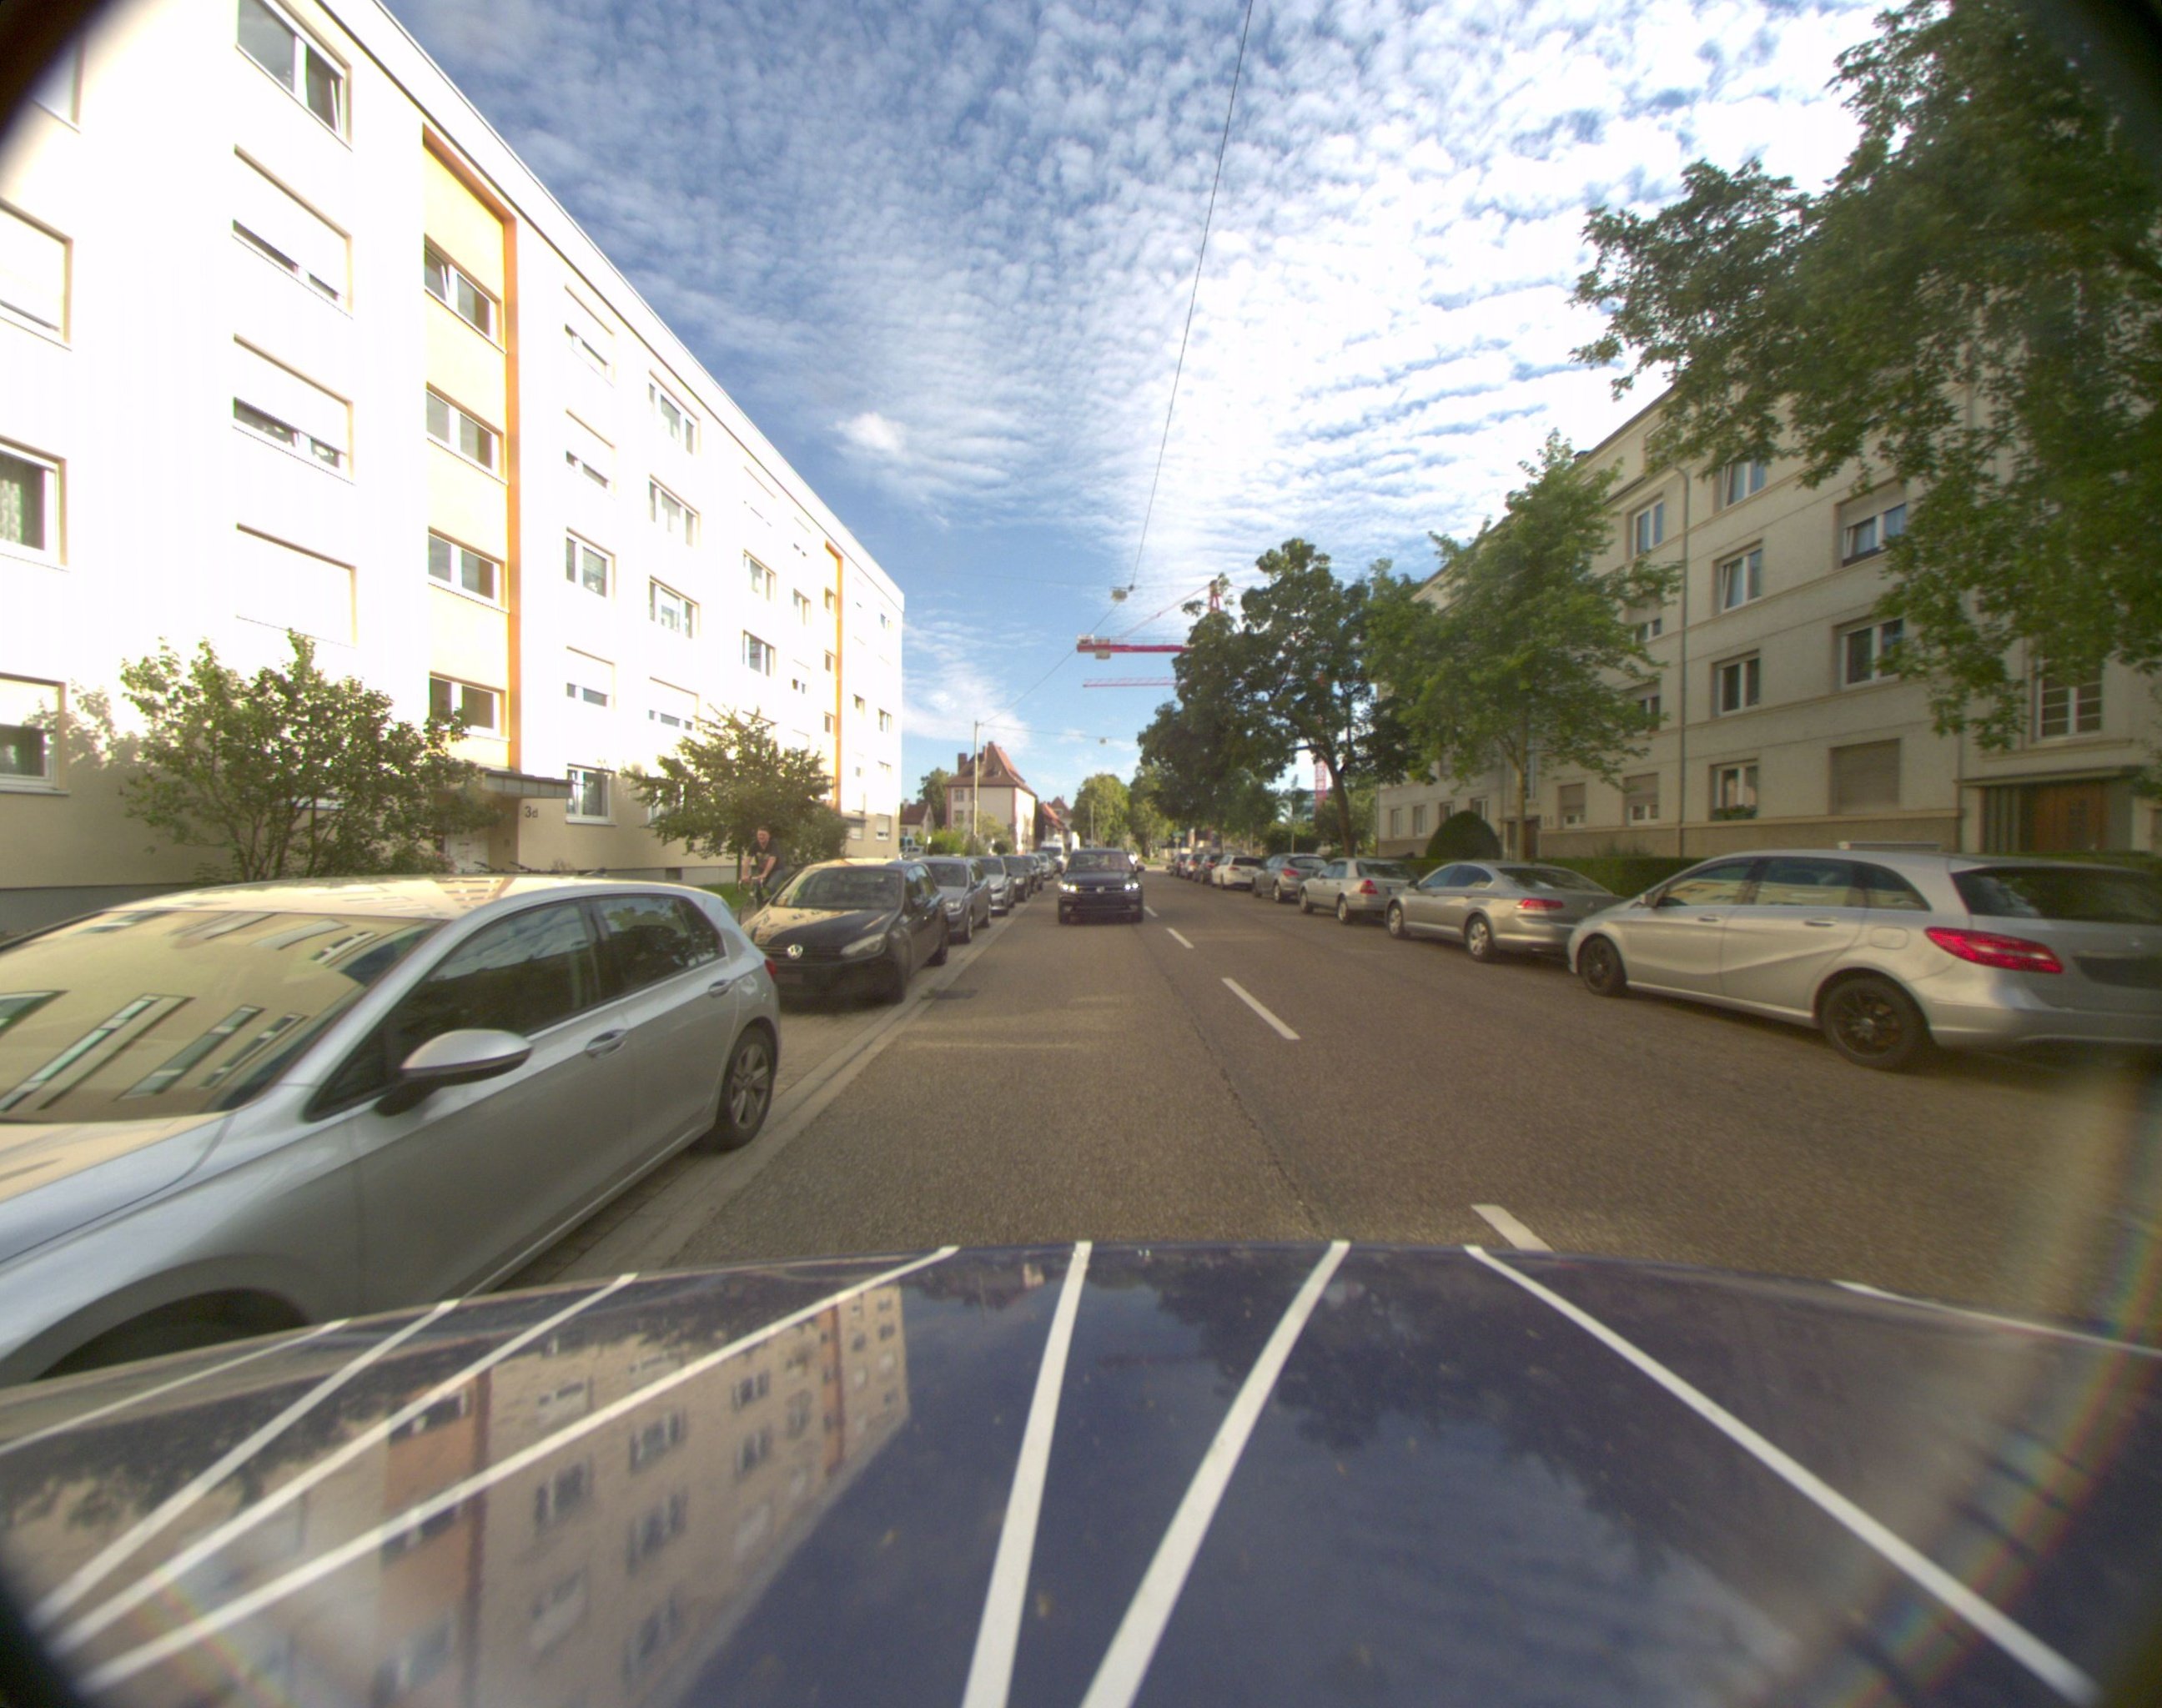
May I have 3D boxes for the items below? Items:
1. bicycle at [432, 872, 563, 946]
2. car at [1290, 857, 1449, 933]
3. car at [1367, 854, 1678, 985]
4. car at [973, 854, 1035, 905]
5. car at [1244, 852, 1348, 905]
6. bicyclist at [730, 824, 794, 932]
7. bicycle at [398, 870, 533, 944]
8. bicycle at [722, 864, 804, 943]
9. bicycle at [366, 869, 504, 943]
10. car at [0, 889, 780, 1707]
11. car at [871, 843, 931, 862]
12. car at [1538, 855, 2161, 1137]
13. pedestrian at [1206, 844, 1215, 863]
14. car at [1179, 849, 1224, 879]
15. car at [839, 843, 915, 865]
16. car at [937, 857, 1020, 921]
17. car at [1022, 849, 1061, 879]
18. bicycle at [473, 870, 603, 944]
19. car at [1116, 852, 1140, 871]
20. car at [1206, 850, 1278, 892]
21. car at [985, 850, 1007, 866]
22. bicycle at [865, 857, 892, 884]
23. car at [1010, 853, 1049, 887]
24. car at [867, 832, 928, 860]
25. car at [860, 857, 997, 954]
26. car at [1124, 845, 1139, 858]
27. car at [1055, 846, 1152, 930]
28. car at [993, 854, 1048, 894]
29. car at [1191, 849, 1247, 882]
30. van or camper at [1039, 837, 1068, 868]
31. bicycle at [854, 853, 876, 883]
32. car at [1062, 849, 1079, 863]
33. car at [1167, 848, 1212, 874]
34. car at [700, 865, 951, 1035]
[{"bbox_3d":[-9.439,0.849,12.403,0.503,1.024,2.095,2,1,0],"label":"bicycle"},{"bbox_3d":[6.258,0.805,17.130,1.742,1.385,4.665,2,0,0],"label":"car"},{"bbox_3d":[6.284,0.789,11.686,1.860,1.477,4.944,3,0,0],"label":"car"},{"bbox_3d":[-2.481,0.780,25.184,1.688,1.492,3.873,1,0,-1],"label":"car"},{"bbox_3d":[6.639,0.700,23.992,1.860,1.477,4.683,1,0,-1],"label":"car"},{"bbox_3d":[-5.114,0.374,12.226,0.625,1.668,0.893,-1,1,0],"label":"bicyclist"},{"bbox_3d":[-9.961,0.812,12.410,0.503,1.024,2.069,2,1,0],"label":"bicycle"},{"bbox_3d":[-5.131,0.757,12.381,0.525,1.128,1.929,-1,1,0],"label":"bicycle"},{"bbox_3d":[-10.475,0.798,12.431,0.503,1.024,2.025,2,1,0],"label":"bicycle"},{"bbox_3d":[-2.625,0.950,2.384,1.666,1.408,4.058,1,1,1],"label":"car"},{"bbox_3d":[-14.113,-0.114,59.661,4.084,1.473,1.872,0,1,9],"label":"car"},{"bbox_3d":[6.207,0.829,6.574,1.860,1.564,4.459,1,0,1],"label":"car"},{"bbox_3d":[12.333,-0.035,72.419,0.743,1.758,0.775,-1,1,-1],"label":"pedestrian"},{"bbox_3d":[6.599,0.504,41.960,1.825,1.477,4.368,2,0,1],"label":"car"},{"bbox_3d":[-14.044,-0.007,52.400,4.675,1.473,1.871,0,1,5],"label":"car"},{"bbox_3d":[-2.555,0.832,19.865,1.704,1.455,4.178,1,0,-2],"label":"car"},{"bbox_3d":[-2.154,0.535,42.608,1.767,1.515,4.329,1,1,2],"label":"car"},{"bbox_3d":[-8.841,0.817,12.504,0.595,1.024,2.119,2,1,0],"label":"bicycle"},{"bbox_3d":[3.963,0.655,65.162,1.744,1.493,4.009,-2,1,0],"label":"car"},{"bbox_3d":[6.493,0.641,31.148,1.860,1.477,4.798,3,0,0],"label":"car"},{"bbox_3d":[-9.628,0.458,86.378,1.888,1.709,4.091,0,0,3],"label":"car"},{"bbox_3d":[-8.149,0.640,30.666,0.597,0.992,1.691,-1,2,0],"label":"bicycle"},{"bbox_3d":[-2.374,0.684,35.419,1.688,1.459,4.204,1,0,-3],"label":"car"},{"bbox_3d":[-15.177,-0.664,63.026,4.276,2.179,2.368,0,1,8],"label":"car"},{"bbox_3d":[-2.702,0.844,14.406,1.688,1.477,4.293,1,1,0],"label":"car"},{"bbox_3d":[6.942,-0.362,105.255,1.834,1.659,4.084,-1,1,1],"label":"car"},{"bbox_3d":[0.389,0.679,17.567,1.860,1.673,3.998,-1,0,-3],"label":"car"},{"bbox_3d":[-2.334,0.742,30.168,1.687,1.427,4.206,1,0,2],"label":"car"},{"bbox_3d":[6.548,0.508,36.533,1.860,1.477,4.683,0,0,0],"label":"car"},{"bbox_3d":[-2.290,-0.146,64.815,2.165,2.512,5.913,2,1,0],"label":"van or camper"},{"bbox_3d":[-8.708,0.552,30.663,0.446,1.130,1.590,1,2,0],"label":"bicycle"},{"bbox_3d":[-1.140,0.225,85.971,1.662,1.477,4.000,-1,0,3],"label":"car"},{"bbox_3d":[6.614,0.386,46.731,1.932,1.477,4.419,2,0,-2],"label":"car"},{"bbox_3d":[-2.684,0.912,8.955,1.666,1.482,3.941,1,0,-1],"label":"car"}]
